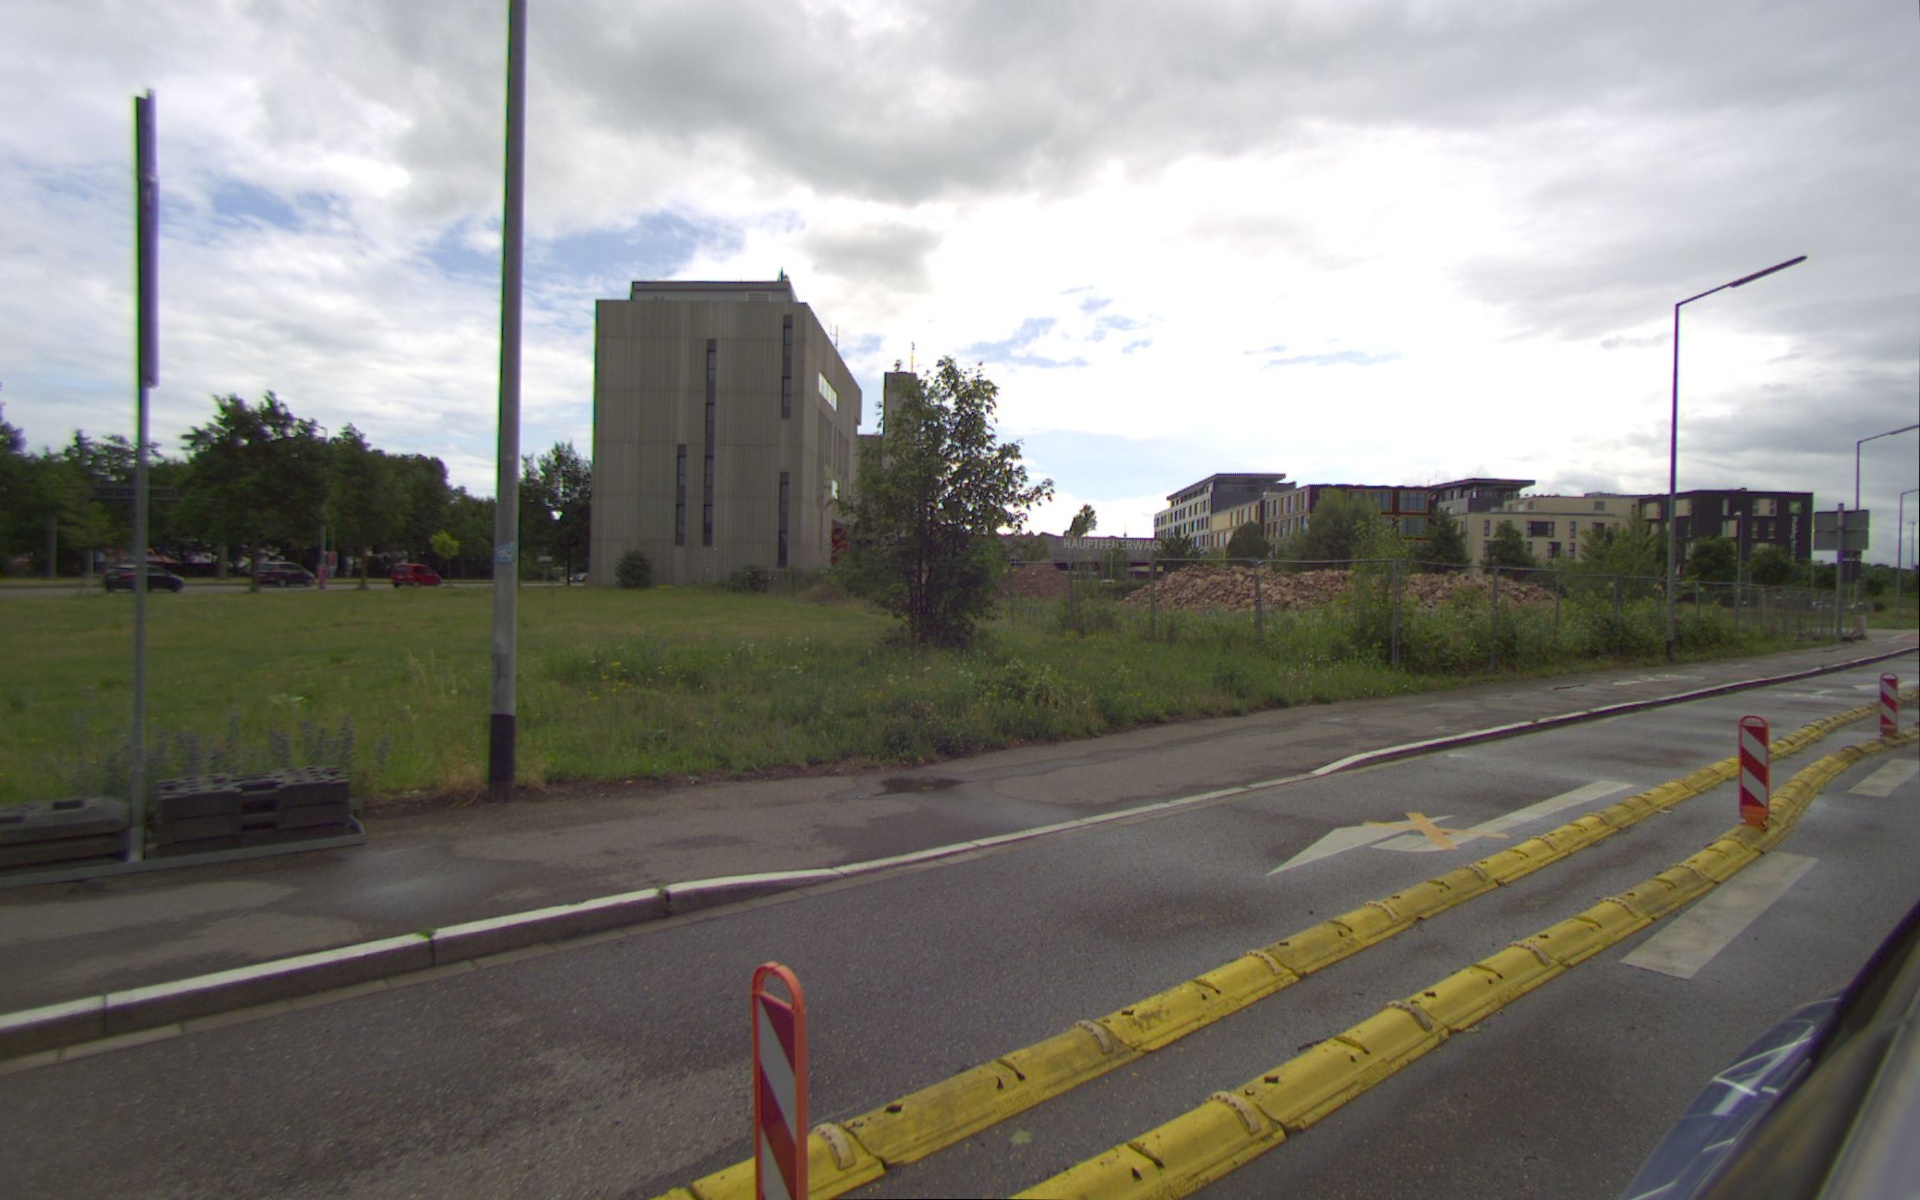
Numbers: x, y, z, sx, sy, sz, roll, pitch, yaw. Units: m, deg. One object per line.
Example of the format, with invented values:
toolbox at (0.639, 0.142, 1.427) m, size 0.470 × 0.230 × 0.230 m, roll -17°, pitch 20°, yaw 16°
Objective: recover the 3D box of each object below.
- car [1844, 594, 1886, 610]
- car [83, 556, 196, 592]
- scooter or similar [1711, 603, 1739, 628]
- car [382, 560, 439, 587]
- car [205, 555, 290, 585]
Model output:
car at (126.049, 0.253, 140.911) m, size 3.925 × 2.039 × 2.000 m, roll 2°, pitch 1°, yaw 1°
car at (-43.782, -1.370, 54.142) m, size 2.079 × 1.818 × 4.601 m, roll 1°, pitch 1°, yaw 6°
scooter or similar at (39.349, 0.780, 52.064) m, size 0.437 × 1.200 × 1.327 m, roll 1°, pitch 1°, yaw 0°
car at (-41.741, -1.978, 77.016) m, size 2.075 × 1.941 × 4.209 m, roll 1°, pitch 1°, yaw -1°
car at (-45.961, -1.911, 65.413) m, size 2.077 × 1.818 × 4.606 m, roll 1°, pitch 1°, yaw 3°
